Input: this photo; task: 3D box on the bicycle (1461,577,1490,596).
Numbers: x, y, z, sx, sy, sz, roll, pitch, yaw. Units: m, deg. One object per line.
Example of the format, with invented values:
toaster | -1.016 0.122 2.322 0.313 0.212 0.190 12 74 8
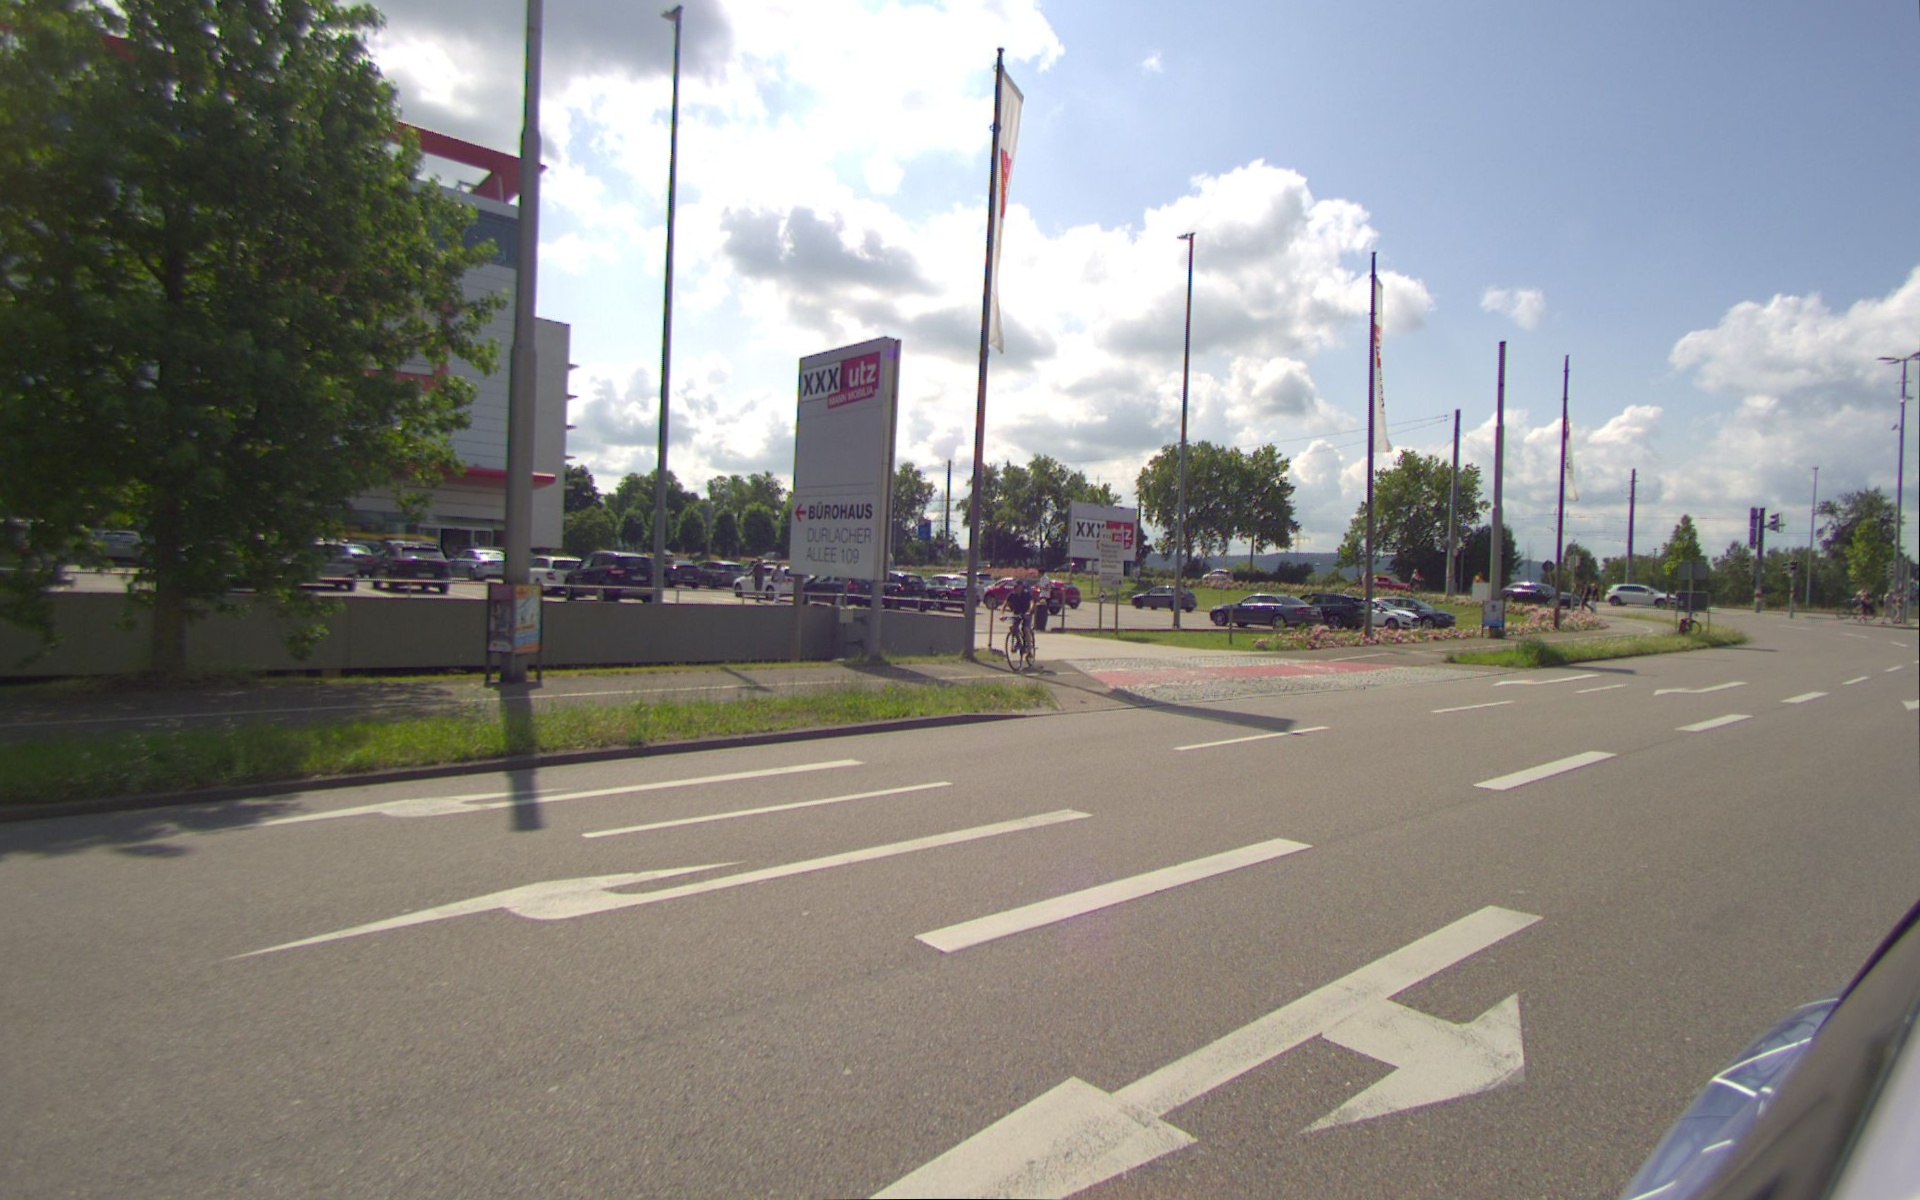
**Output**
bicycle | 32.487 -0.853 63.797 0.609 1.180 1.505 2 0 -36

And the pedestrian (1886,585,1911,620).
pedestrian | 47.678 0.123 51.413 0.686 1.749 0.690 0 2 -29

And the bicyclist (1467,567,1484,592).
bicyclist | 32.508 -1.319 63.791 0.609 1.555 0.697 2 0 -36

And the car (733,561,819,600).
car | -7.993 -0.863 43.689 1.793 1.527 4.158 2 0 -40

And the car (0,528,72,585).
car | -26.484 -1.233 28.812 1.729 1.482 4.247 2 0 -41

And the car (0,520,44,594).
car | -22.995 -1.095 23.832 1.995 1.593 4.368 2 2 -41

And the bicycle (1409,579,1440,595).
bicycle | 30.646 -0.863 66.801 0.654 0.973 1.694 2 0 -40

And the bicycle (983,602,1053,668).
bicycle | 1.077 0.595 18.229 0.618 1.081 1.953 3 1 22

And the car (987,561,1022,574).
car | 6.191 -4.533 140.452 1.933 1.527 4.775 4 0 -42

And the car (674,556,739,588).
car | -13.337 -1.489 53.115 1.817 1.571 4.058 1 1 -39

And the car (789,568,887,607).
car | -4.852 -0.510 39.793 1.813 1.379 4.371 1 2 -38

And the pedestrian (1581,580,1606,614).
pedestrian | 35.100 -0.168 56.104 0.744 1.825 0.824 1 1 -13

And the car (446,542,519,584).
car | -21.289 -1.655 45.075 1.677 1.529 4.160 2 3 -44

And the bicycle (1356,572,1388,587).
bicycle | 28.401 -1.399 69.797 0.586 0.973 1.987 2 0 -37

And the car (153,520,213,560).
car | -32.521 -2.456 42.332 1.870 1.482 3.997 2 0 -39

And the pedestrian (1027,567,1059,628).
pedestrian | 2.543 -0.085 31.116 0.856 1.805 0.784 2 0 2

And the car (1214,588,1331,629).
car | 12.831 0.306 41.759 1.823 1.495 4.370 1 1 -38

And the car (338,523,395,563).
car | -33.078 -3.123 56.383 1.965 2.039 3.994 2 0 -42

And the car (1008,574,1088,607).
car | 4.790 -0.544 55.429 1.813 1.445 4.372 3 2 -38

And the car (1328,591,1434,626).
car | 20.107 0.390 48.481 1.764 1.457 4.369 1 1 -40

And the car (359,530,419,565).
car | -27.607 -2.515 48.906 1.676 1.530 4.348 2 0 -41

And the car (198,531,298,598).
car | -19.382 -0.996 27.486 1.734 1.571 4.191 2 2 -41

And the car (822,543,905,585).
car | -7.983 -2.976 82.709 3.064 3.193 7.904 1 2 -37

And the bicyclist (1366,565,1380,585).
bicyclist | 28.457 -1.739 69.750 0.582 1.342 0.687 2 0 -37

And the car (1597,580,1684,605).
car | 45.358 -0.519 67.523 1.980 1.430 4.489 1 2 -43

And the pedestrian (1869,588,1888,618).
pedestrian | 47.736 0.166 52.586 0.460 1.543 0.586 1 1 -32

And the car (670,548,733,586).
car | -14.904 -1.889 58.252 1.964 2.039 3.996 2 0 -40

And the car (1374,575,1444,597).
car | 31.993 -0.999 72.188 4.235 1.377 1.722 5 3 42

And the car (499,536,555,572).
car | -26.418 -2.765 61.674 1.964 2.039 3.995 2 0 -40

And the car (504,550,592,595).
car | -15.364 -1.053 37.638 1.728 1.445 4.299 4 0 -40

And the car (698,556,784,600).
car | -9.111 -0.934 41.907 1.665 1.607 4.022 3 0 -41

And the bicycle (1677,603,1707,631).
bicycle | 26.131 0.611 36.118 1.517 0.964 0.518 0 1 -41

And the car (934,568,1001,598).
car | 0.455 -1.085 64.473 1.821 1.607 4.233 2 2 -42

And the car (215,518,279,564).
car | -30.733 -2.500 43.593 1.964 1.772 3.997 2 0 -39

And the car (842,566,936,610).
car | -2.951 -0.509 41.206 1.597 1.460 4.372 3 2 -38

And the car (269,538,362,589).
car | -20.886 -1.180 32.711 1.859 1.518 4.366 1 1 -42

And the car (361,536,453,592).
car | -18.870 -1.256 34.438 1.782 1.640 4.368 3 2 -41

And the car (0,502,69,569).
car | -31.139 -2.104 33.751 1.964 2.039 3.996 2 0 -40

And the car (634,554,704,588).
car | -14.932 -1.488 51.793 1.964 1.526 3.997 1 3 -40

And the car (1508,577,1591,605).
car | 36.959 -0.592 63.521 1.876 1.501 4.213 1 3 -21

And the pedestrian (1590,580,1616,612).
pedestrian | 36.661 -0.228 57.687 0.848 1.787 0.864 1 1 -14

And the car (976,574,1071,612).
car | 2.816 -0.327 45.751 1.813 1.379 4.372 3 2 -38

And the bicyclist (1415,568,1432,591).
bicyclist | 30.635 -1.336 66.859 0.639 1.494 0.742 2 0 -40

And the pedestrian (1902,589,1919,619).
pedestrian | 49.366 0.203 52.547 0.460 1.543 0.557 2 0 -32

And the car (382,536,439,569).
car | -31.432 -2.706 57.836 1.965 1.745 3.994 2 0 -42

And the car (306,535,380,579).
car | -25.490 -1.789 41.755 1.821 1.607 4.233 2 2 -42

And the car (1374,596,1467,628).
car | 23.481 0.587 51.699 1.686 1.435 3.994 1 2 -42

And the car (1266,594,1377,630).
car | 16.120 0.492 45.288 1.824 1.434 4.368 1 1 -40

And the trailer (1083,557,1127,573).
trailer | 17.519 -4.255 122.717 5.162 1.854 1.798 2 1 42

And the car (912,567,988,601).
car | -0.541 -0.824 50.405 1.573 1.379 4.036 3 2 -38

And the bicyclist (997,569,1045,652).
bicyclist | 1.099 0.182 18.226 0.610 1.430 0.709 3 1 22

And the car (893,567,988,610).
car | -0.863 -0.519 42.621 1.651 1.527 4.372 1 3 -38

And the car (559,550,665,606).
car | -11.448 -0.745 33.177 1.713 1.550 4.059 1 3 -44

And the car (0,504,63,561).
car | -36.672 -2.599 39.749 1.964 2.039 3.995 2 0 -40

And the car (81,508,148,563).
car | -34.585 -2.594 41.426 1.964 2.039 3.995 2 0 -40

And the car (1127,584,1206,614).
car | 12.446 -0.057 61.328 2.011 1.426 4.372 3 2 -38

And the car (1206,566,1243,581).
car | 28.740 -2.877 110.077 3.477 1.474 1.676 -1 1 41
